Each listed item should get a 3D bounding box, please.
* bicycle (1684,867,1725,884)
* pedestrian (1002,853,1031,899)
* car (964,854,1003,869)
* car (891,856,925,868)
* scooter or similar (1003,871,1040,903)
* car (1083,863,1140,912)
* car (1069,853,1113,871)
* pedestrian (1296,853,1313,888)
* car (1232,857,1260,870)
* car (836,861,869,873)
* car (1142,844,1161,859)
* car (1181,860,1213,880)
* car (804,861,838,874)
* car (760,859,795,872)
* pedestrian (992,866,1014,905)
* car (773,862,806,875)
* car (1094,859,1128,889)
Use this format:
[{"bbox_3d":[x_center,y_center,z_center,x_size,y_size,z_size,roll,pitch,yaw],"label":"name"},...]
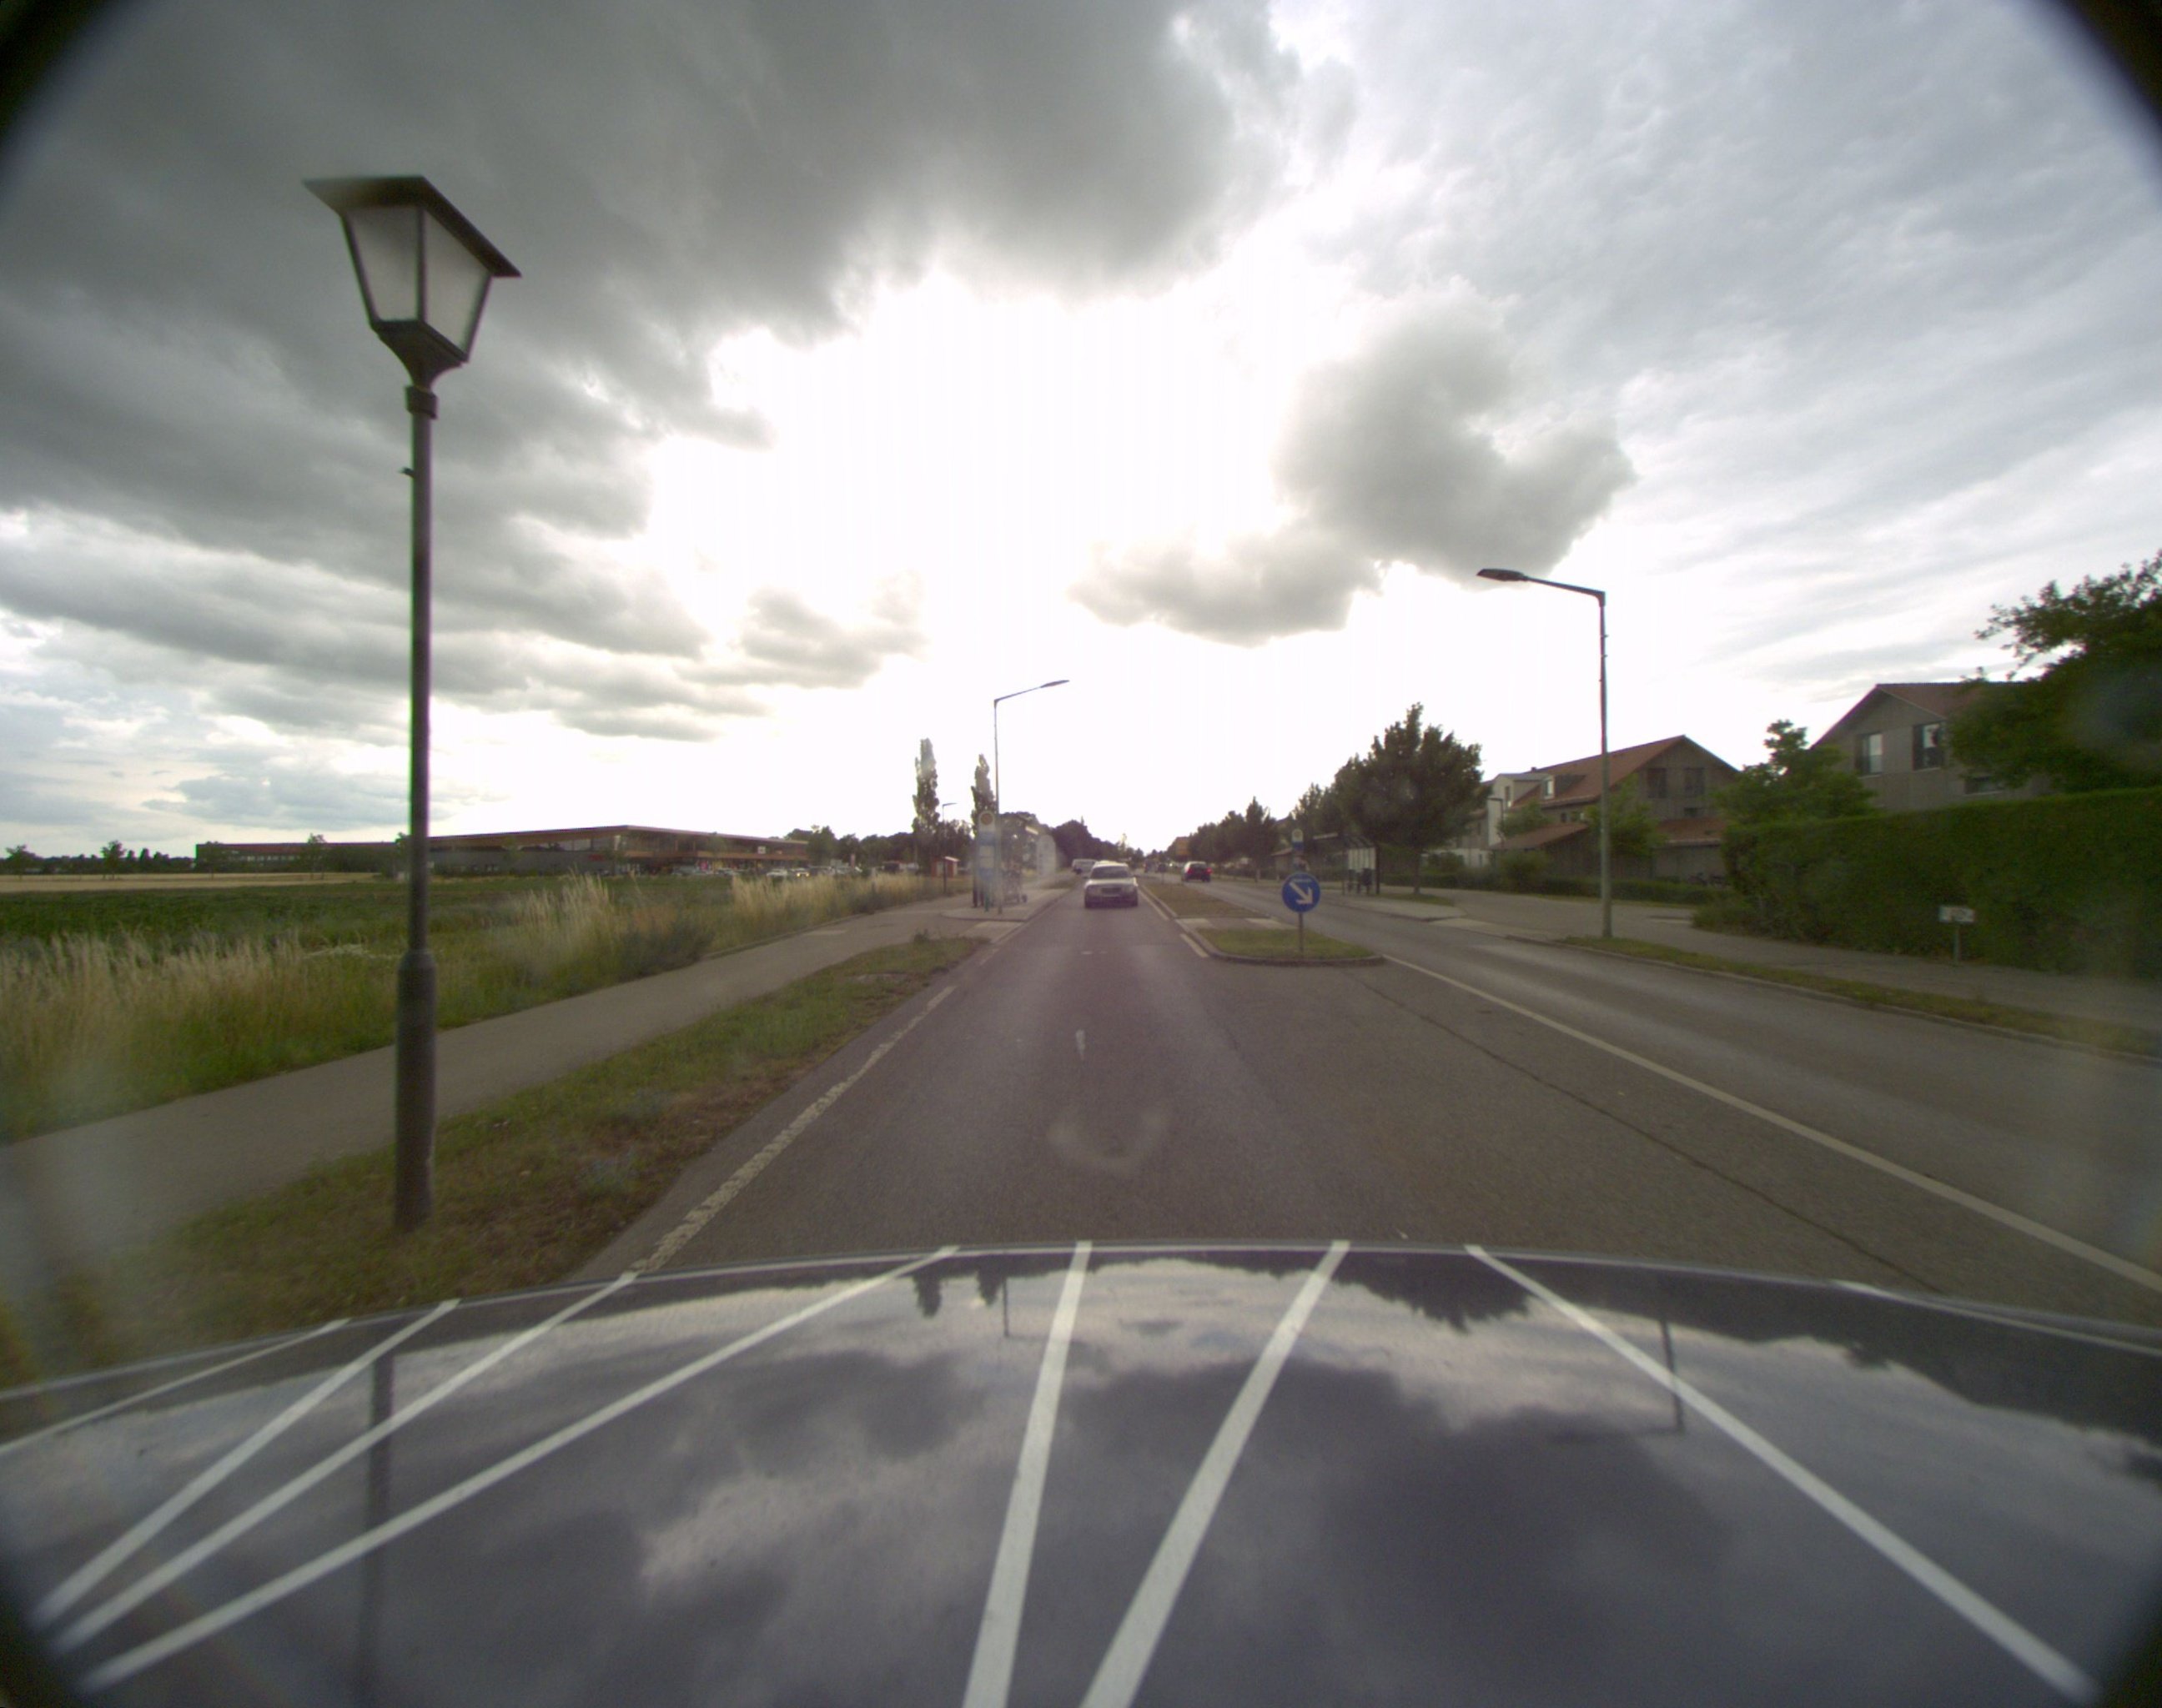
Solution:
[{"bbox_3d":[34.370,1.195,41.887,1.946,0.904,0.419,-1,0,0],"label":"bicycle"},{"bbox_3d":[-2.551,0.863,30.009,0.782,1.782,0.780,-3,0,23],"label":"pedestrian"},{"bbox_3d":[-14.484,1.077,113.266,5.526,2.002,1.999,-2,0,-4],"label":"car"},{"bbox_3d":[-31.238,1.394,137.281,5.526,2.002,1.999,-2,0,-4],"label":"car"},{"bbox_3d":[-2.095,1.158,26.628,0.707,1.056,1.062,-2,1,39],"label":"scooter or similar"},{"bbox_3d":[1.040,1.086,26.359,1.763,1.410,4.520,-3,0,2],"label":"car"},{"bbox_3d":[1.280,1.009,97.907,5.319,2.002,1.998,-3,0,-12],"label":"car"},{"bbox_3d":[10.643,0.771,36.207,0.589,1.626,0.813,-1,0,1],"label":"pedestrian"},{"bbox_3d":[28.641,1.593,131.820,4.567,2.002,2.001,-2,0,6],"label":"car"},{"bbox_3d":[-43.057,2.470,143.090,5.526,2.002,1.999,-2,0,-4],"label":"car"},{"bbox_3d":[10.353,-0.360,111.918,2.560,2.002,5.319,-2,0,3],"label":"car"},{"bbox_3d":[8.673,1.168,57.194,1.925,1.445,4.497,0,0,3],"label":"car"},{"bbox_3d":[-43.730,2.302,127.862,4.857,2.002,1.999,-2,0,-6],"label":"car"},{"bbox_3d":[-49.841,1.871,124.868,4.857,2.002,1.999,-2,0,-6],"label":"car"},{"bbox_3d":[-2.685,1.078,26.163,0.666,1.295,0.505,-3,0,-3],"label":"pedestrian"},{"bbox_3d":[-50.405,2.581,131.433,4.857,2.002,1.999,-2,0,-6],"label":"car"},{"bbox_3d":[1.715,1.113,43.930,1.763,1.495,4.691,-3,0,2],"label":"car"}]
